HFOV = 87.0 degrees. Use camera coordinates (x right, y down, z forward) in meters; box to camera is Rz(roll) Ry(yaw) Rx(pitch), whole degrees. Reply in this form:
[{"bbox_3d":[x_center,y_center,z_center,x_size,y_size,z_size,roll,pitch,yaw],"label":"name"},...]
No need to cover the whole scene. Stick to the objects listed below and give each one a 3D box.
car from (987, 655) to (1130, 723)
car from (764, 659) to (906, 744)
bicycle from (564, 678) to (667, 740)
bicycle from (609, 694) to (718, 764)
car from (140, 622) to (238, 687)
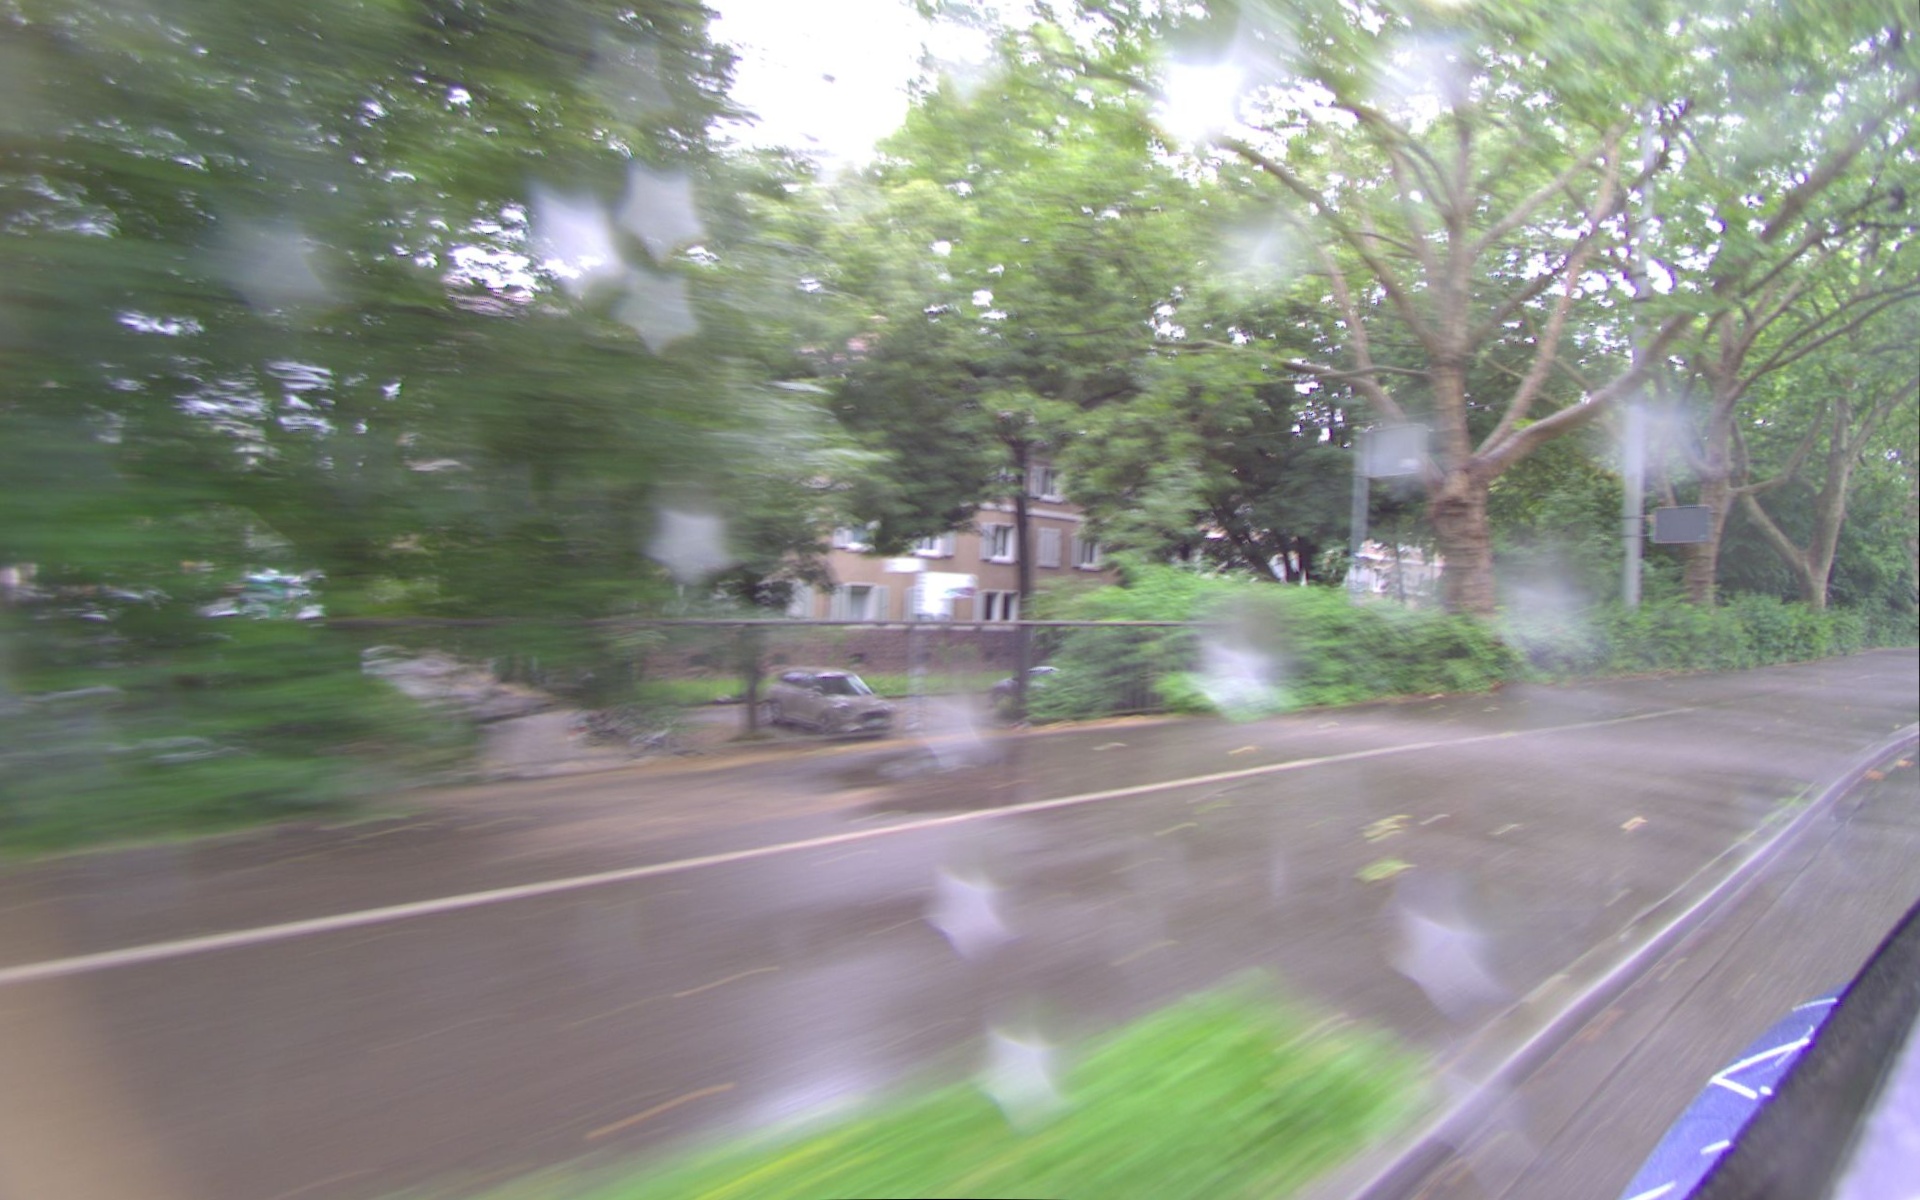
[{"bbox_3d":[2.896,2.609,30.493,1.735,1.466,4.272,2,2,-40],"label":"car"},{"bbox_3d":[-3.144,2.410,24.944,1.736,1.466,3.733,-1,4,-40],"label":"car"},{"bbox_3d":[-7.474,2.341,22.026,0.642,1.188,1.998,4,1,42],"label":"bicycle"},{"bbox_3d":[-5.836,2.513,20.011,0.642,1.188,1.998,2,-1,42],"label":"bicycle"},{"bbox_3d":[-21.835,1.482,28.790,1.888,1.488,3.911,-1,2,-33],"label":"car"}]
